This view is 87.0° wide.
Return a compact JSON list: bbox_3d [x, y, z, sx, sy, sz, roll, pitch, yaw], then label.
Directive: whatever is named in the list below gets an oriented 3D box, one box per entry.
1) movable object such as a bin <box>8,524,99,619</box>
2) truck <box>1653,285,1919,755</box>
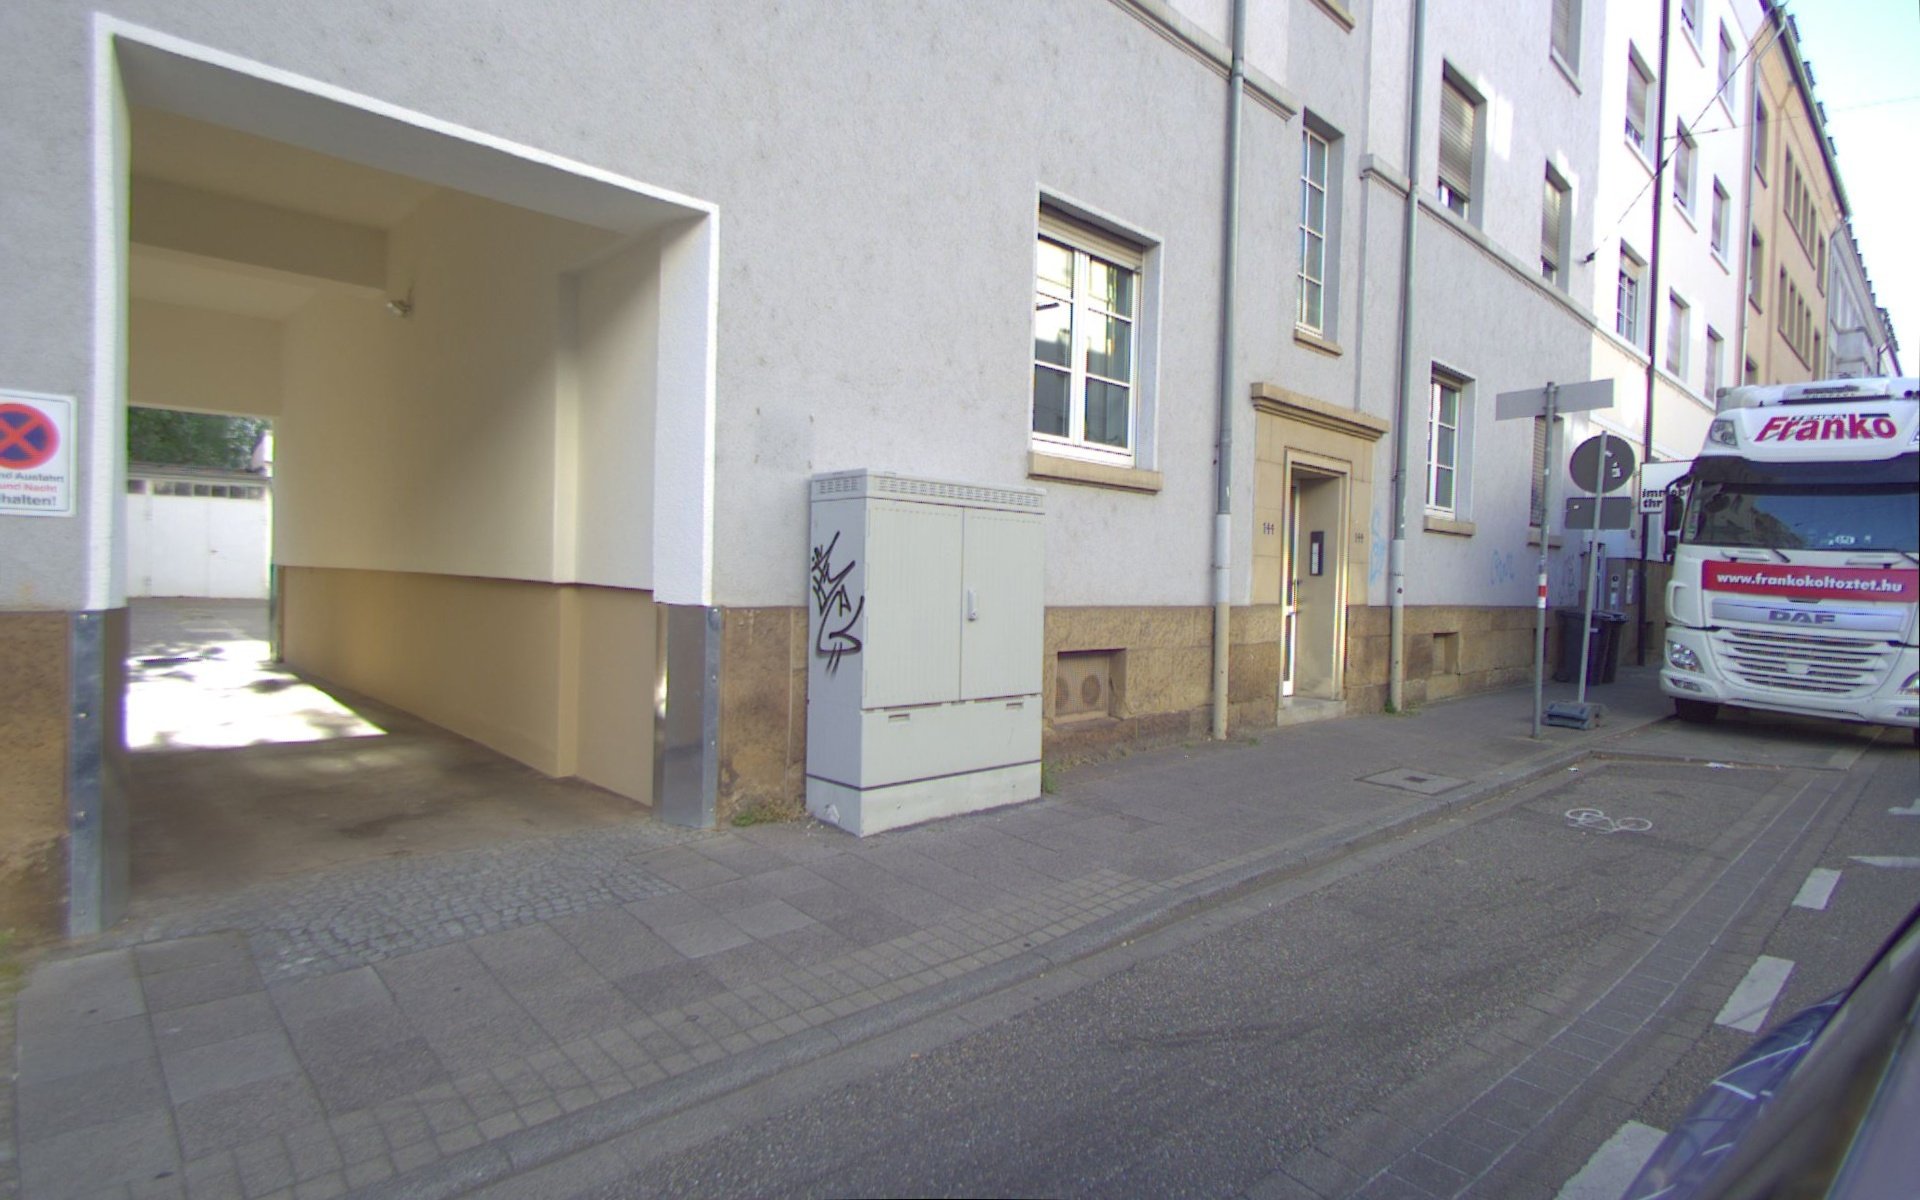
[{"bbox_3d":[-15.107,-0.461,16.897,1.091,1.512,1.328,0,0,-41],"label":"movable object such as a bin"},{"bbox_3d":[12.560,-0.856,13.690,11.579,4.290,2.697,-1,3,-43],"label":"truck"}]
